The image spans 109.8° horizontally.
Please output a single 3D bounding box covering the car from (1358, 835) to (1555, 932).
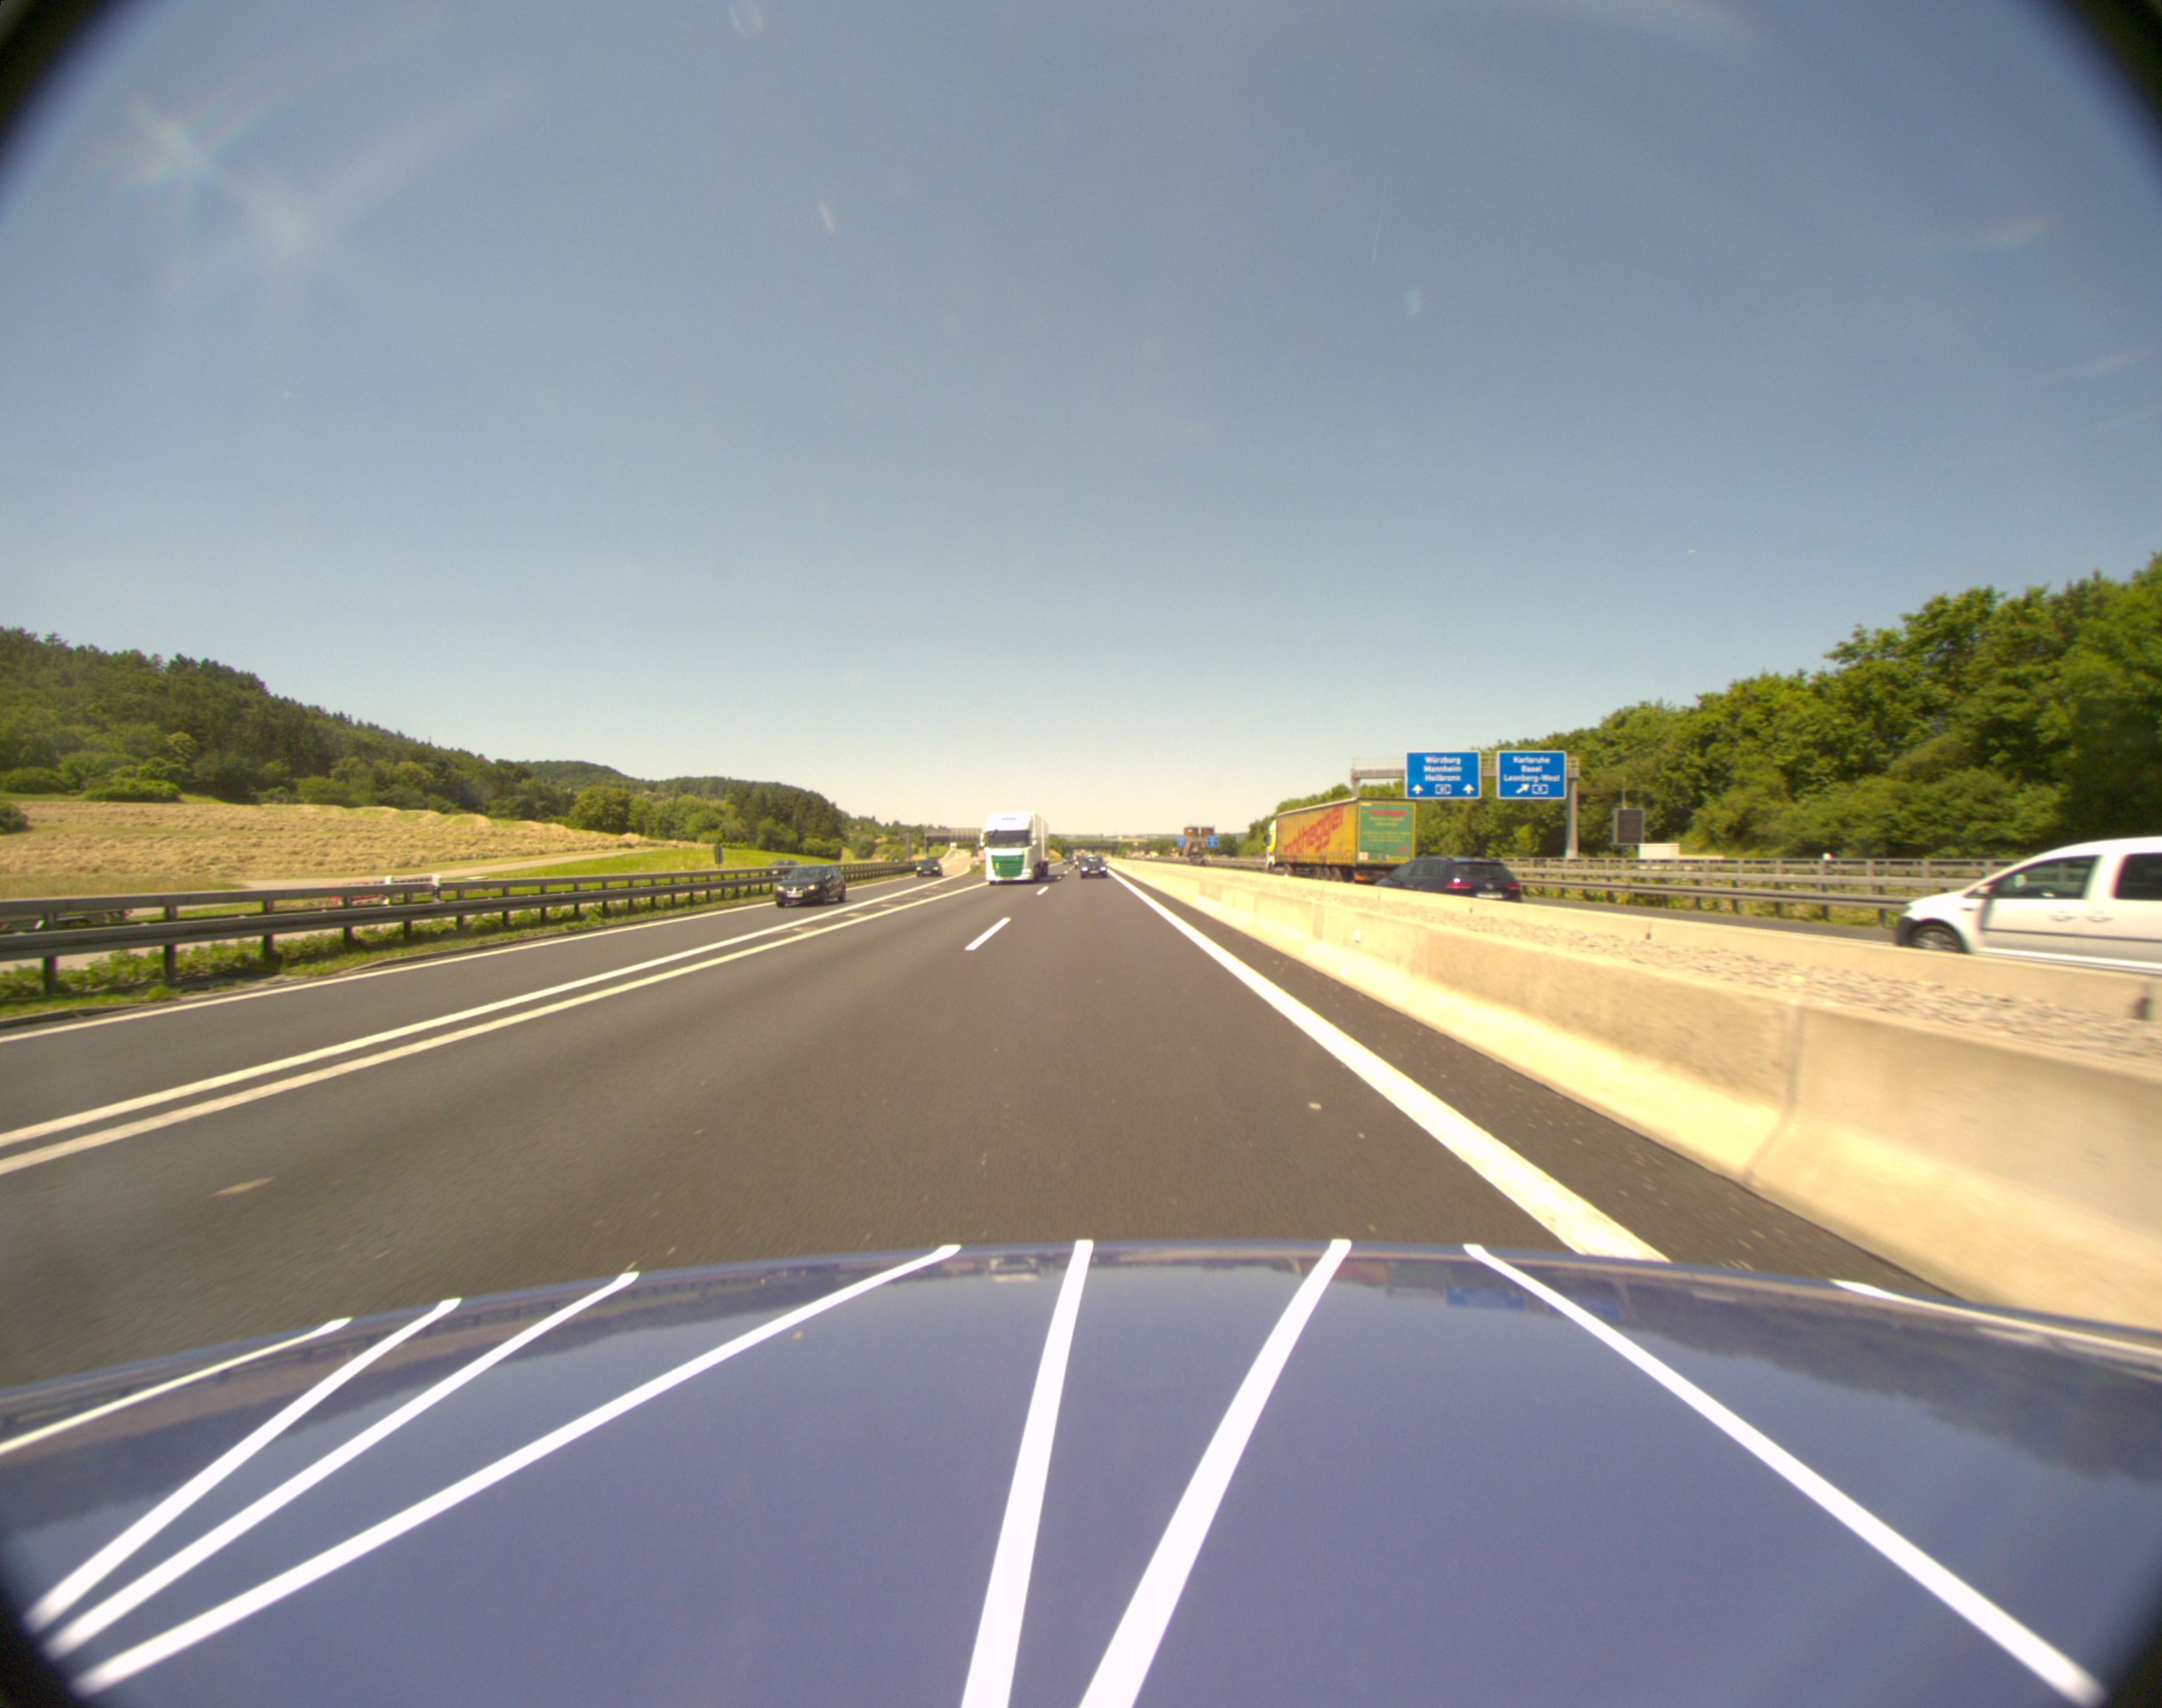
[{"bbox_3d":[8.180,0.558,17.189,1.989,1.816,4.825,-2,1,-1],"label":"car"}]

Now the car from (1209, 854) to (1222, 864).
[{"bbox_3d":[30.456,1.136,172.321,1.952,2.002,4.762,-2,1,-4],"label":"car"}]

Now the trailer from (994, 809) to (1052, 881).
[{"bbox_3d":[-3.711,-0.557,52.336,2.663,4.164,14.893,-2,0,0],"label":"trailer"}]

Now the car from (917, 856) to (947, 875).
[{"bbox_3d":[-12.148,0.913,62.171,1.892,1.464,3.865,-2,1,-3],"label":"car"}]

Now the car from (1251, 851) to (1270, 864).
[{"bbox_3d":[29.091,0.556,123.318,1.998,2.002,3.999,-2,1,0],"label":"car"}]

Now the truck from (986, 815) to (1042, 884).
[{"bbox_3d":[-3.699,-0.256,42.715,2.649,3.572,4.403,-2,1,0],"label":"truck"}]

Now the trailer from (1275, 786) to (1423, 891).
[{"bbox_3d":[12.901,-0.723,38.506,2.674,4.248,13.813,-2,1,1],"label":"trailer"}]

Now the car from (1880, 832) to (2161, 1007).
[{"bbox_3d":[12.289,0.675,8.401,1.746,1.816,4.903,-2,1,0],"label":"car"}]

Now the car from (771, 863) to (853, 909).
[{"bbox_3d":[-9.554,1.083,27.261,1.782,1.392,3.759,-2,1,-4],"label":"car"}]

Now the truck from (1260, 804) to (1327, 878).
[{"bbox_3d":[13.039,-0.810,46.948,2.713,4.263,4.552,-2,1,0],"label":"truck"}]

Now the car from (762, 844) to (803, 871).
[{"bbox_3d":[-23.298,0.258,59.440,2.000,2.002,3.997,0,0,-7],"label":"car"}]

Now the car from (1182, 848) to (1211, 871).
[{"bbox_3d":[10.466,0.501,69.394,1.923,2.002,5.346,0,0,1],"label":"car"}]

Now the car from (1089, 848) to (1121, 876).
[{"bbox_3d":[1.464,0.458,46.985,1.799,1.574,3.999,-2,1,0],"label":"car"}]

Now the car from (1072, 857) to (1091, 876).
[{"bbox_3d":[0.079,1.448,87.668,1.998,2.002,3.999,-2,1,1],"label":"car"}]
